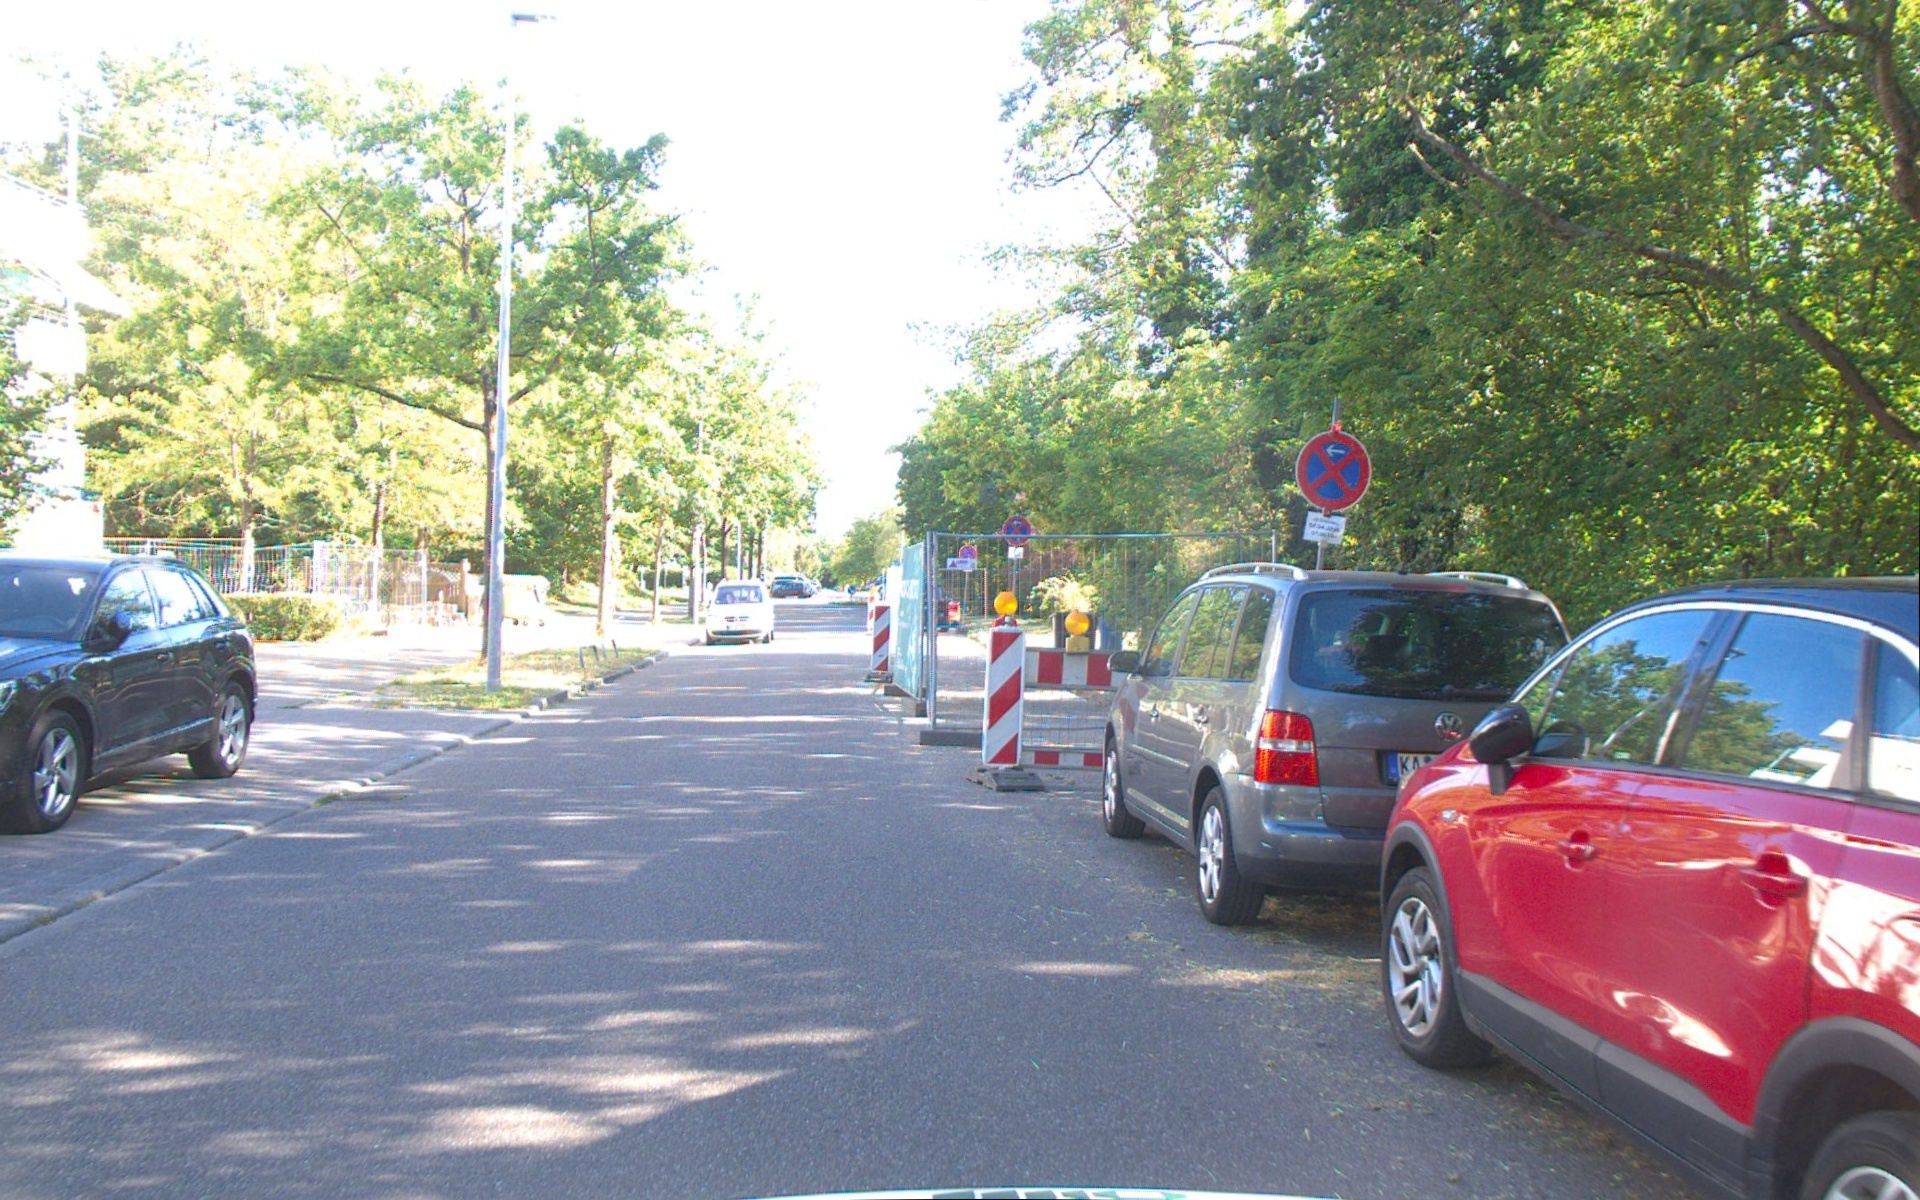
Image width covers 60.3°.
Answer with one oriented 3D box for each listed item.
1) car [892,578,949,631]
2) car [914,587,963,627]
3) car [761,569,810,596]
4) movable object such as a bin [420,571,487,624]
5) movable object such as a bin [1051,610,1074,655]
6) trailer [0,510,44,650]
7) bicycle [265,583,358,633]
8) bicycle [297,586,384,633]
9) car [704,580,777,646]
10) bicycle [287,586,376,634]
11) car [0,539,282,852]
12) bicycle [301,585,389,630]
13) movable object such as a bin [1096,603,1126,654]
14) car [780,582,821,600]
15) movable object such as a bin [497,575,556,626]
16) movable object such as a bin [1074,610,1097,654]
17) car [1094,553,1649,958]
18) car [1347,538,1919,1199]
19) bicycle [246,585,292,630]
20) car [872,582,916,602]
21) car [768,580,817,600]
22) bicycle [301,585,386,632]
[{"bbox_3d":[-1.336,0.145,57.268,1.773,1.680,4.421,3,0,0],"label":"car"},{"bbox_3d":[-0.869,0.251,64.032,1.629,1.399,4.152,3,0,-4],"label":"car"},{"bbox_3d":[-18.777,-1.856,177.892,5.103,2.666,2.289,3,0,-9],"label":"car"},{"bbox_3d":[-14.325,-0.068,46.771,1.244,1.460,1.325,1,0,24],"label":"movable object such as a bin"},{"bbox_3d":[2.076,0.657,33.527,0.404,0.885,0.484,-1,0,-3],"label":"movable object such as a bin"},{"bbox_3d":[-15.763,-0.340,24.551,1.826,2.157,4.346,3,0,0],"label":"trailer"},{"bbox_3d":[-14.113,0.174,36.036,1.839,1.045,0.399,1,-1,-17],"label":"bicycle"},{"bbox_3d":[-14.184,0.214,37.921,1.829,1.045,0.399,1,-1,-17],"label":"bicycle"},{"bbox_3d":[-5.786,0.315,43.932,1.627,1.624,4.005,1,0,-4],"label":"car"},{"bbox_3d":[-14.042,0.227,36.984,1.825,1.045,0.399,1,-1,-17],"label":"bicycle"},{"bbox_3d":[-6.034,0.443,10.687,1.740,1.650,4.217,3,0,-4],"label":"car"},{"bbox_3d":[-14.408,0.181,38.793,1.884,1.045,0.399,1,-1,-17],"label":"bicycle"},{"bbox_3d":[3.063,0.574,33.590,0.508,1.017,0.608,-1,0,-3],"label":"movable object such as a bin"},{"bbox_3d":[-16.312,-0.948,169.106,4.024,1.604,1.958,3,0,-2],"label":"car"},{"bbox_3d":[-12.602,0.011,48.104,1.242,1.460,1.182,1,0,12],"label":"movable object such as a bin"},{"bbox_3d":[2.552,0.648,33.637,0.404,0.885,0.484,-1,0,-3],"label":"movable object such as a bin"},{"bbox_3d":[1.892,0.634,8.946,1.646,1.650,4.133,2,0,-5],"label":"car"},{"bbox_3d":[2.381,0.709,4.176,1.645,1.601,4.064,2,0,-3],"label":"car"},{"bbox_3d":[-16.540,0.182,39.617,0.391,1.045,1.700,1,0,-2],"label":"bicycle"},{"bbox_3d":[-5.897,-0.740,148.970,3.758,1.604,1.689,3,0,3],"label":"car"},{"bbox_3d":[-15.447,-0.918,152.834,4.228,1.604,2.047,3,0,3],"label":"car"},{"bbox_3d":[-14.283,0.202,38.336,1.808,1.045,0.399,1,-1,-17],"label":"bicycle"}]
